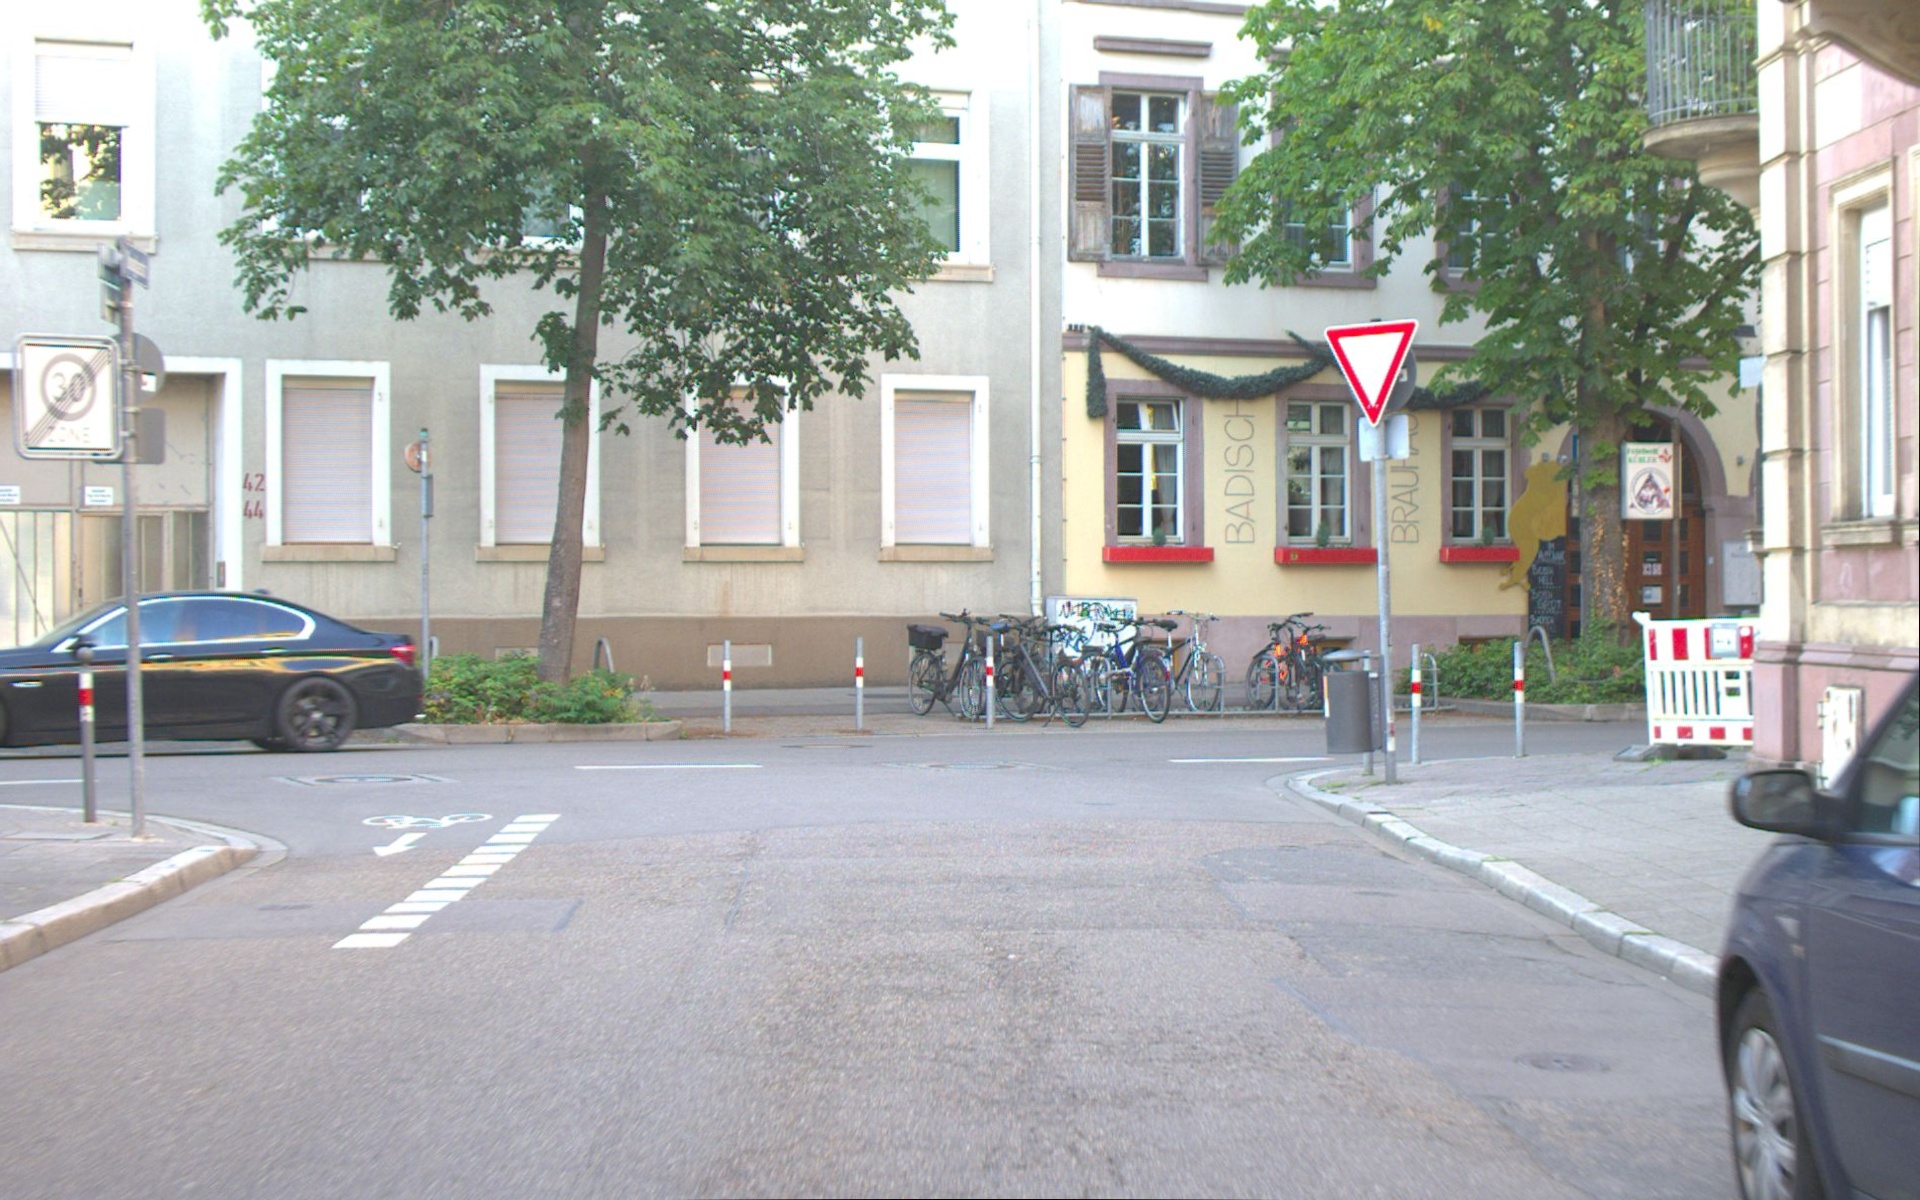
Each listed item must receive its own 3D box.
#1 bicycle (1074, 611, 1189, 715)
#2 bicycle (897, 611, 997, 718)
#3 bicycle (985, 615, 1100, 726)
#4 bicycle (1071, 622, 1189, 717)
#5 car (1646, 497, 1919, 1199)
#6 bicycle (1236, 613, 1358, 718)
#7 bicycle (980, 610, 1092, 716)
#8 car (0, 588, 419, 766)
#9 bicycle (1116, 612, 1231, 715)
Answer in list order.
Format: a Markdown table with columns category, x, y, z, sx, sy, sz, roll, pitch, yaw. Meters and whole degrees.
| category | x | y | z | sx | sy | sz | roll | pitch | yaw |
| --- | --- | --- | --- | --- | --- | --- | --- | --- | --- |
| bicycle | 1.932 | 0.696 | 38.913 | 0.420 | 1.142 | 2.043 | 0 | 0 | -24 |
| bicycle | -0.154 | 0.696 | 38.068 | 0.445 | 1.142 | 2.043 | 0 | 0 | -20 |
| bicycle | 0.872 | 0.744 | 36.822 | 0.445 | 1.142 | 2.043 | 0 | 0 | -22 |
| bicycle | 1.851 | 0.749 | 37.683 | 0.420 | 1.000 | 2.043 | 0 | 0 | -24 |
| car | 2.535 | 0.632 | 5.861 | 1.689 | 1.619 | 4.055 | 0 | 0 | -4 |
| bicycle | 3.787 | 0.722 | 38.820 | 0.420 | 1.142 | 2.043 | 0 | 0 | -24 |
| bicycle | 0.833 | 0.692 | 38.419 | 0.420 | 1.142 | 2.043 | 0 | 0 | -24 |
| car | -7.188 | 0.640 | 29.720 | 4.652 | 1.445 | 1.768 | 0 | 0 | -23 |
| bicycle | 2.429 | 0.709 | 39.316 | 0.420 | 1.142 | 2.043 | 0 | 0 | -24 |
